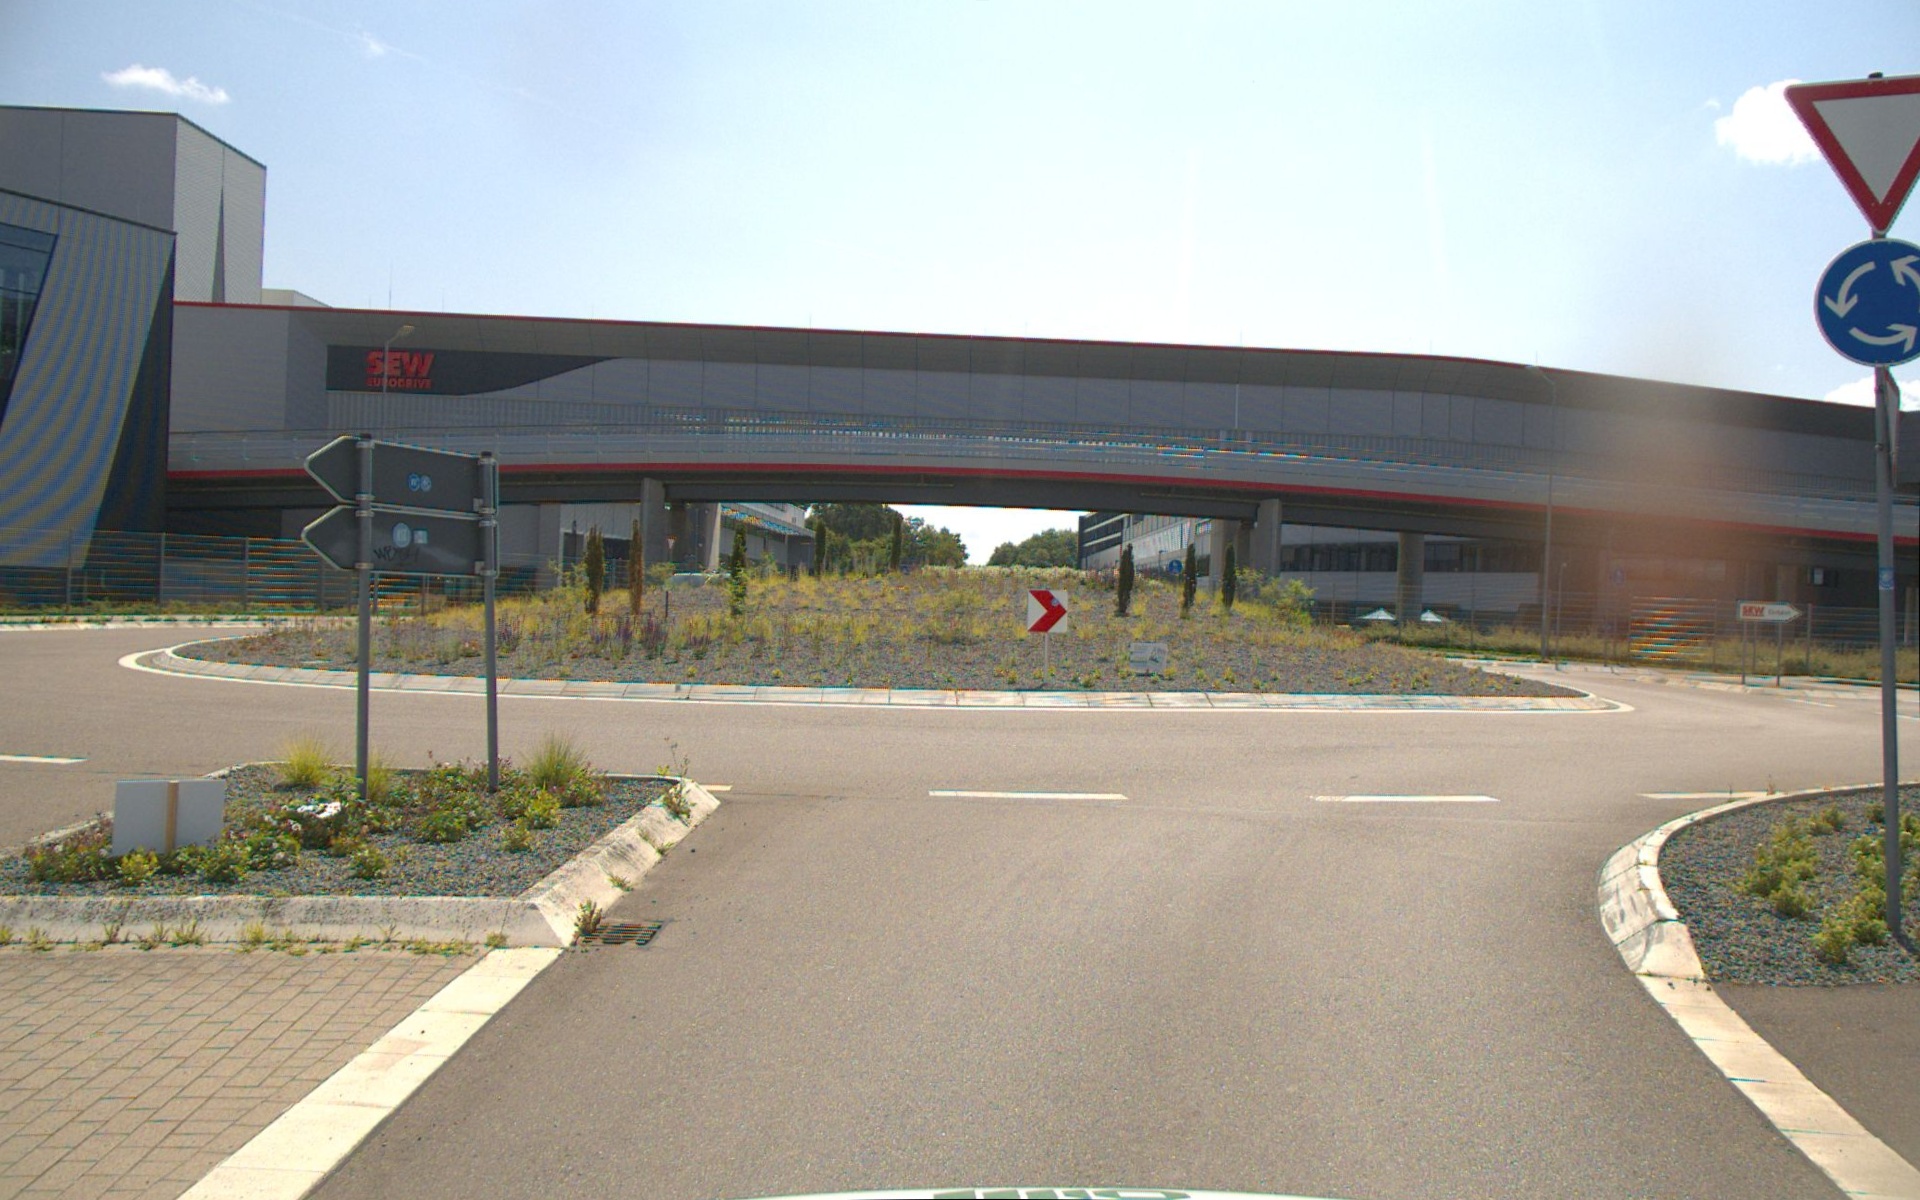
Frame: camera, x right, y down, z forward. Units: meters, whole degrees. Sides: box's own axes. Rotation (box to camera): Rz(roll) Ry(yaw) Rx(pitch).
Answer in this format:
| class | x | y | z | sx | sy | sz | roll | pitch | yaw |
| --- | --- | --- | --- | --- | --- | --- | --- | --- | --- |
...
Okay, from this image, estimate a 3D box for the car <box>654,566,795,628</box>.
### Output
| class | x | y | z | sx | sy | sz | roll | pitch | yaw |
| --- | --- | --- | --- | --- | --- | --- | --- | --- | --- |
| car | -7.314 | -0.086 | 51.810 | 1.956 | 1.810 | 4.552 | 2 | 0 | 30 |
